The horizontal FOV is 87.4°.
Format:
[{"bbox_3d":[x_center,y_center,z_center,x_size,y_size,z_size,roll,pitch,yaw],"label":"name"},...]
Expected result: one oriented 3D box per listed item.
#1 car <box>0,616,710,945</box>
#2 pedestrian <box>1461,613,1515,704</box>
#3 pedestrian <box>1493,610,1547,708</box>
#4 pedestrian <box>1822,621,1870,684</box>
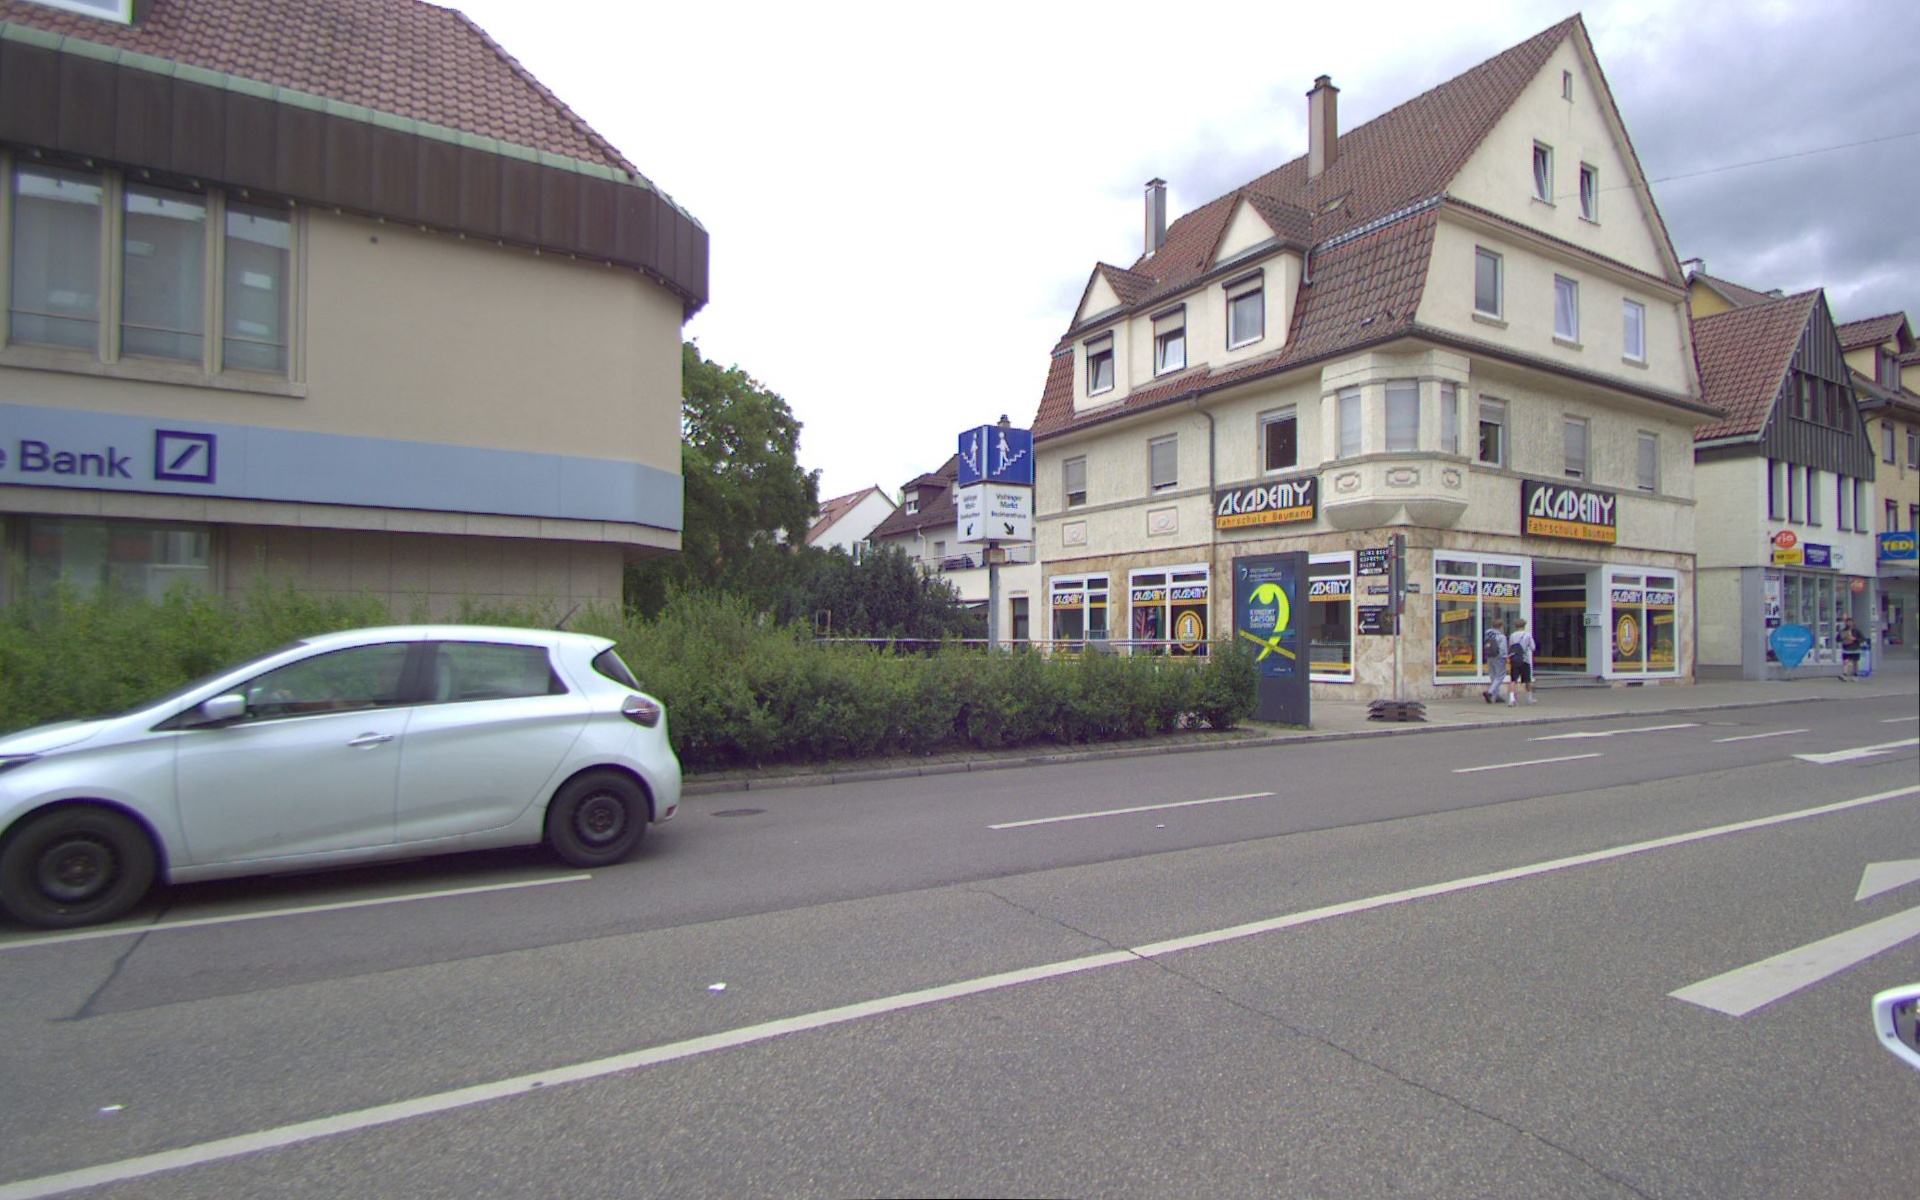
[{"bbox_3d":[-3.748,0.946,6.416,3.882,1.588,1.632,1,-4,-31],"label":"car"},{"bbox_3d":[10.569,1.158,20.111,0.673,1.784,0.684,1,-2,-31],"label":"pedestrian"},{"bbox_3d":[10.852,1.131,19.461,0.673,1.848,0.630,1,-2,-31],"label":"pedestrian"},{"bbox_3d":[25.878,1.525,29.343,0.798,1.770,0.861,0,1,-35],"label":"pedestrian"}]
